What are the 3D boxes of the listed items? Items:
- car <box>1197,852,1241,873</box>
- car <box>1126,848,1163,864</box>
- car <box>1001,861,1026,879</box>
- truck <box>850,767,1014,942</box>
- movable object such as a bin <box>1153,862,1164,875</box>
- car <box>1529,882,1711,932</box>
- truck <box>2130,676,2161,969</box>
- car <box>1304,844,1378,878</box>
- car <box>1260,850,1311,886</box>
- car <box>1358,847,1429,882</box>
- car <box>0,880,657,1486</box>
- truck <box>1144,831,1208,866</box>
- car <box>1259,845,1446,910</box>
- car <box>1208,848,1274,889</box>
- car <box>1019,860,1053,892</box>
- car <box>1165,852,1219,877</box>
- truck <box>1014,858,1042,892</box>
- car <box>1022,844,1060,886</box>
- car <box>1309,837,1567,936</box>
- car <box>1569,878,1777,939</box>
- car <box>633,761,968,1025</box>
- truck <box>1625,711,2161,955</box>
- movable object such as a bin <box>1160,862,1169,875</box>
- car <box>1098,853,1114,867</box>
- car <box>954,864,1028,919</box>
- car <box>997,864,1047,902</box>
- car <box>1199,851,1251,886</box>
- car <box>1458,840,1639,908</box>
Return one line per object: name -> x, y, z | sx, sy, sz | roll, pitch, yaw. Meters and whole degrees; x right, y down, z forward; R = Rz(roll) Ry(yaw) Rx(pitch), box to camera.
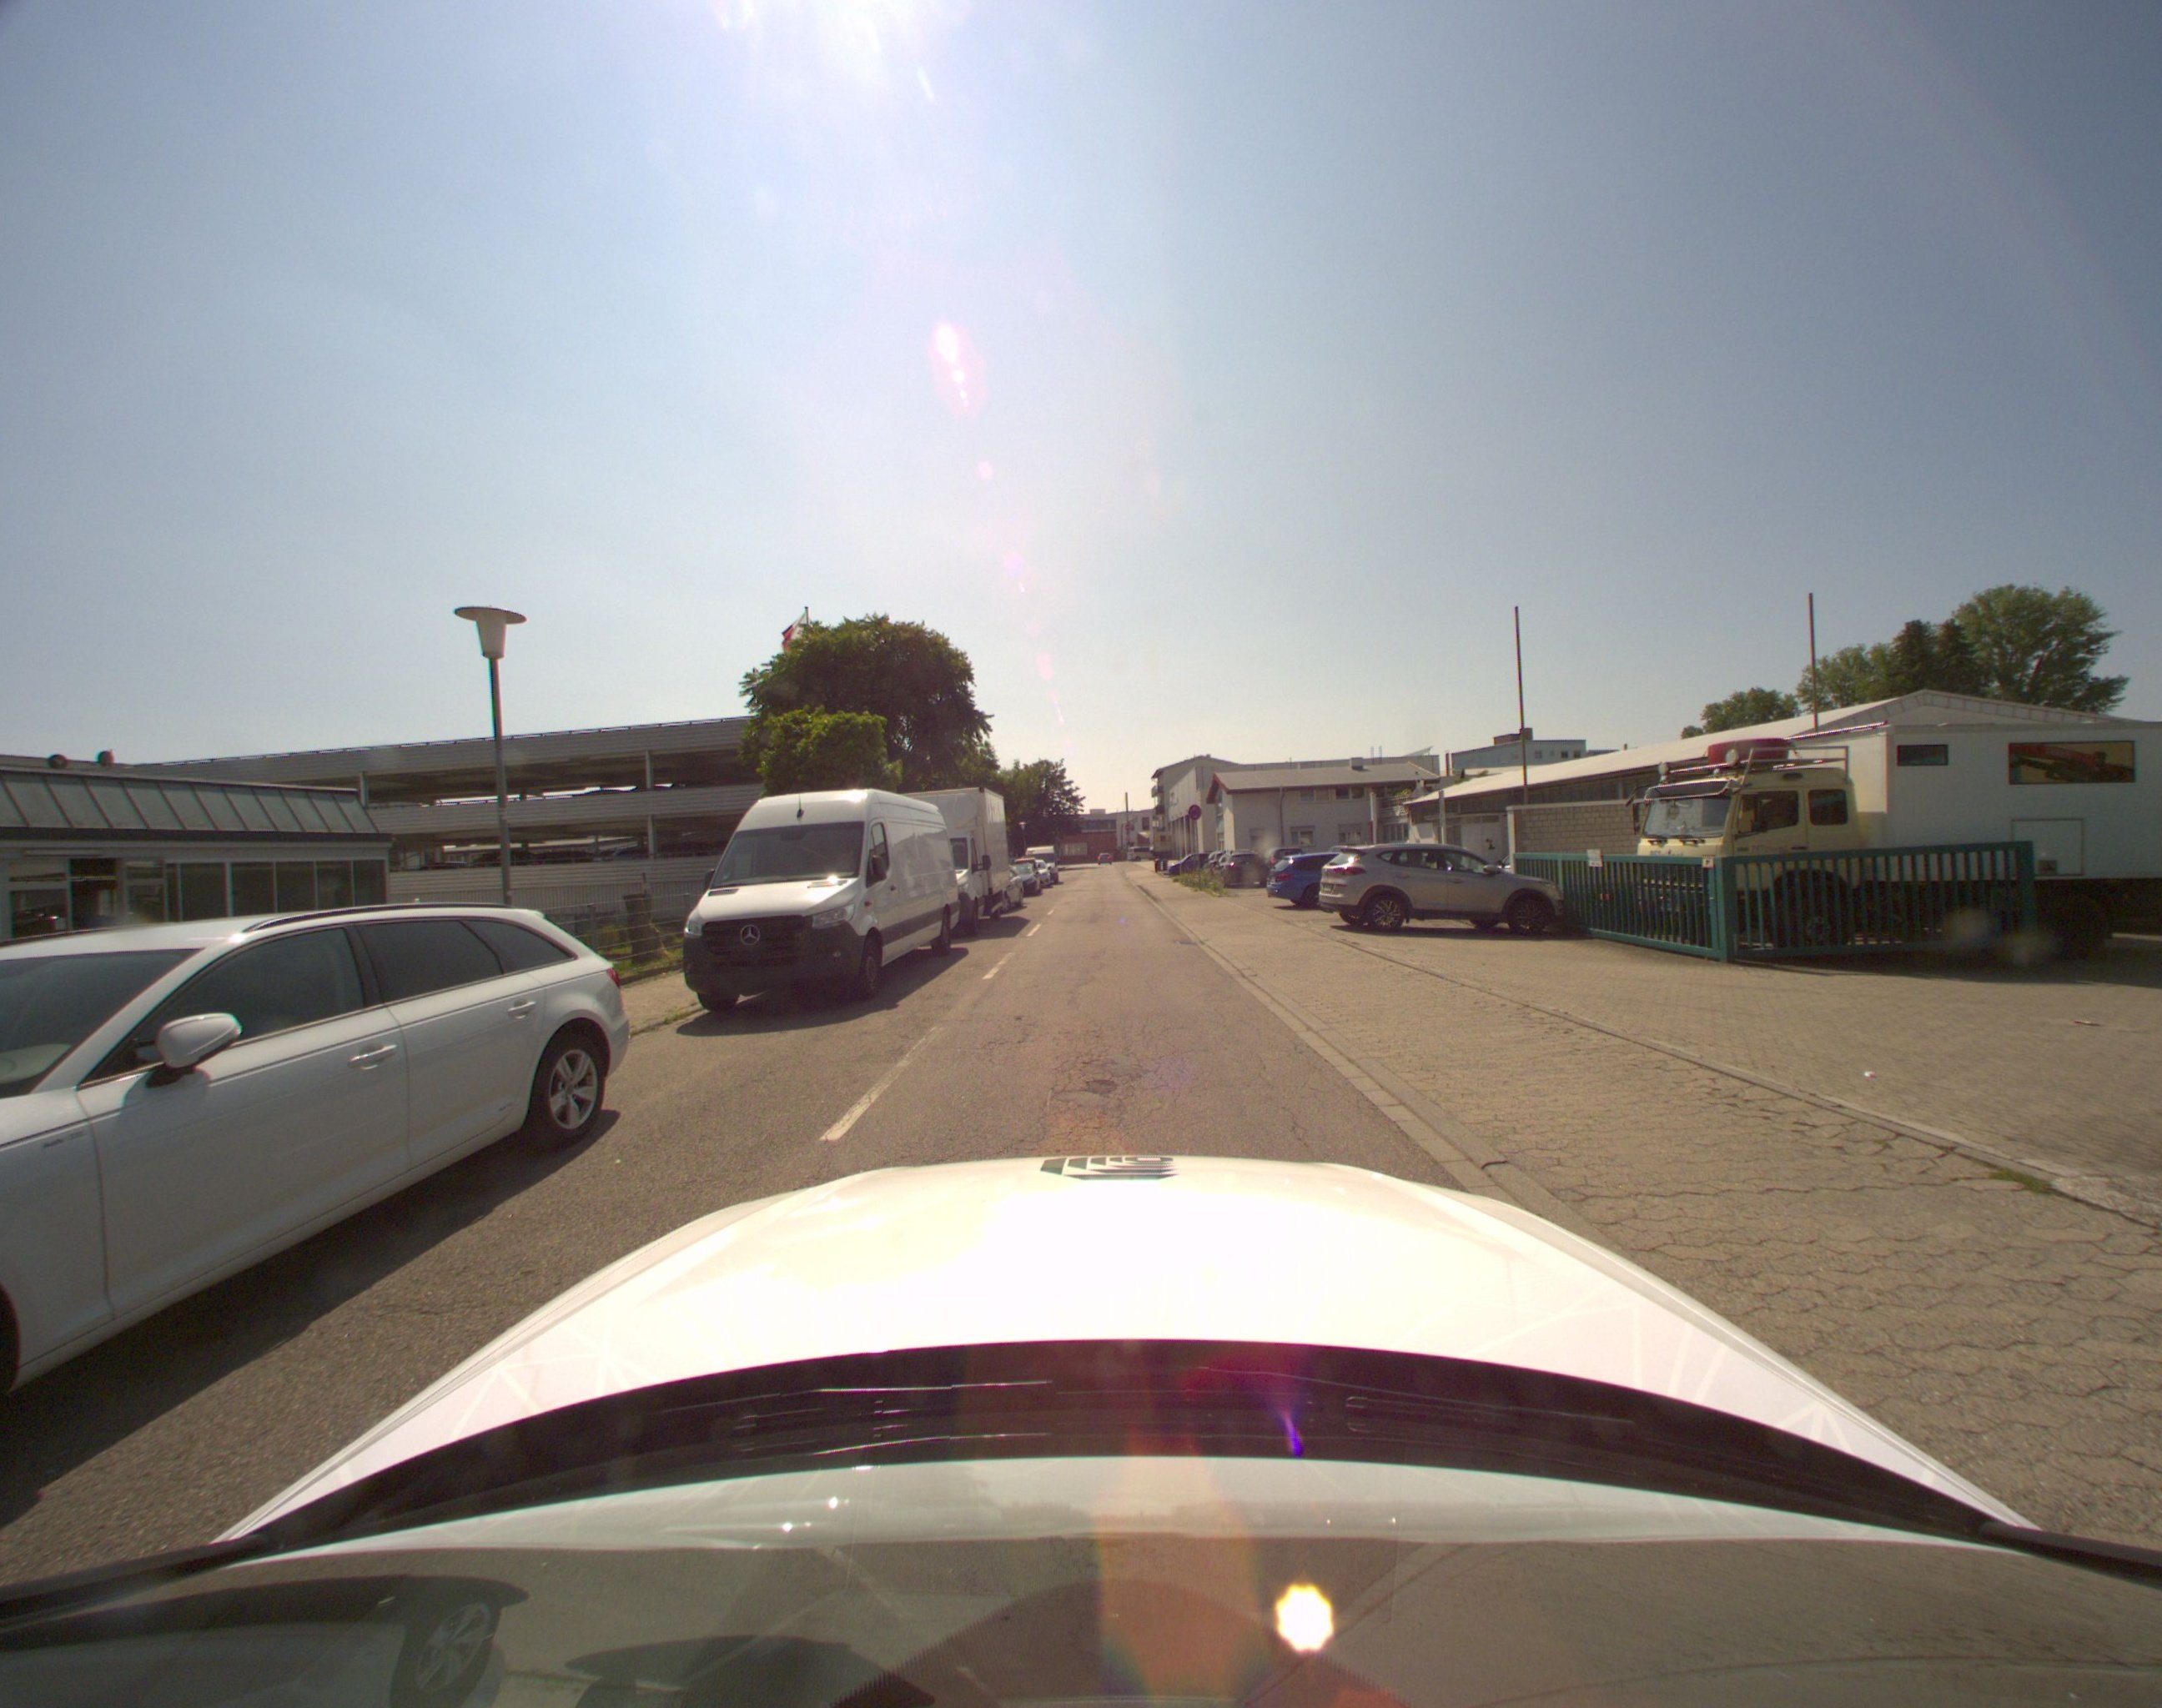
car -> 11.533, 0.705, 68.056 | 1.756, 1.540, 3.725 | -4, 0, 43
car -> 8.720, 0.294, 111.873 | 4.667, 1.957, 1.905 | -2, 0, -18
car -> -6.044, 1.415, 73.101 | 1.808, 1.530, 3.674 | -4, 0, 0
truck -> -3.268, 0.093, 19.871 | 2.678, 3.366, 7.125 | -3, -1, -1
movable object such as a bin -> 5.704, 1.086, 59.991 | 0.562, 0.946, 0.561 | -4, -1, 35
car -> 10.998, 1.071, 16.725 | 2.886, 0.914, 1.288 | 0, -1, 1
truck -> 17.331, -0.551, 8.543 | 8.239, 3.611, 2.956 | -2, -1, 4
car -> 12.927, 0.397, 40.698 | 1.760, 1.496, 4.135 | -4, -1, -9
car -> 9.451, 0.626, 37.866 | 1.751, 1.595, 3.623 | 1, 0, 5
car -> 13.081, 0.433, 34.354 | 1.634, 1.324, 4.105 | -3, -1, 4
car -> -3.721, 0.958, 3.256 | 1.709, 1.544, 4.398 | -4, -1, -1
truck -> 12.025, -0.663, 103.537 | 7.347, 3.645, 2.763 | -5, 0, -5
car -> 7.132, 0.613, 21.734 | 4.338, 1.441, 1.892 | -3, -1, 0
car -> 6.770, 0.599, 34.933 | 1.852, 1.568, 4.952 | -3, 0, 1
car -> -2.504, 1.213, 45.593 | 1.701, 1.624, 3.968 | -4, -1, -3
car -> 7.102, 0.686, 52.373 | 3.241, 1.399, 1.674 | -3, -1, 1
truck -> -2.690, 1.054, 41.986 | 1.135, 1.622, 3.140 | -4, -1, -1
car -> -2.444, 0.731, 50.781 | 1.999, 2.366, 5.227 | -4, -2, 0
car -> 6.740, 0.606, 15.679 | 4.186, 1.682, 1.767 | 2, -1, 0
car -> 10.775, 0.974, 14.933 | 2.886, 1.003, 1.288 | 0, -1, 1
car -> -3.388, 0.474, 11.879 | 2.160, 2.596, 6.921 | -4, -1, 2
truck -> 13.200, -0.281, 12.879 | 7.490, 3.423, 2.527 | 1, -1, 1
movable object such as a bin -> 6.208, 1.093, 60.394 | 0.510, 0.946, 0.489 | -3, -1, 13
car -> 3.358, 0.858, 109.312 | 1.886, 1.685, 3.954 | -2, -1, -2
car -> -2.781, 1.125, 26.134 | 1.735, 1.521, 4.311 | -3, -1, 1
car -> -2.540, 1.234, 36.198 | 1.698, 1.463, 4.115 | -4, -1, 2
car -> 7.091, 0.691, 40.485 | 1.805, 1.558, 4.293 | -3, 0, 1
car -> 11.597, 0.492, 20.635 | 1.881, 1.441, 4.452 | -3, -1, -2
